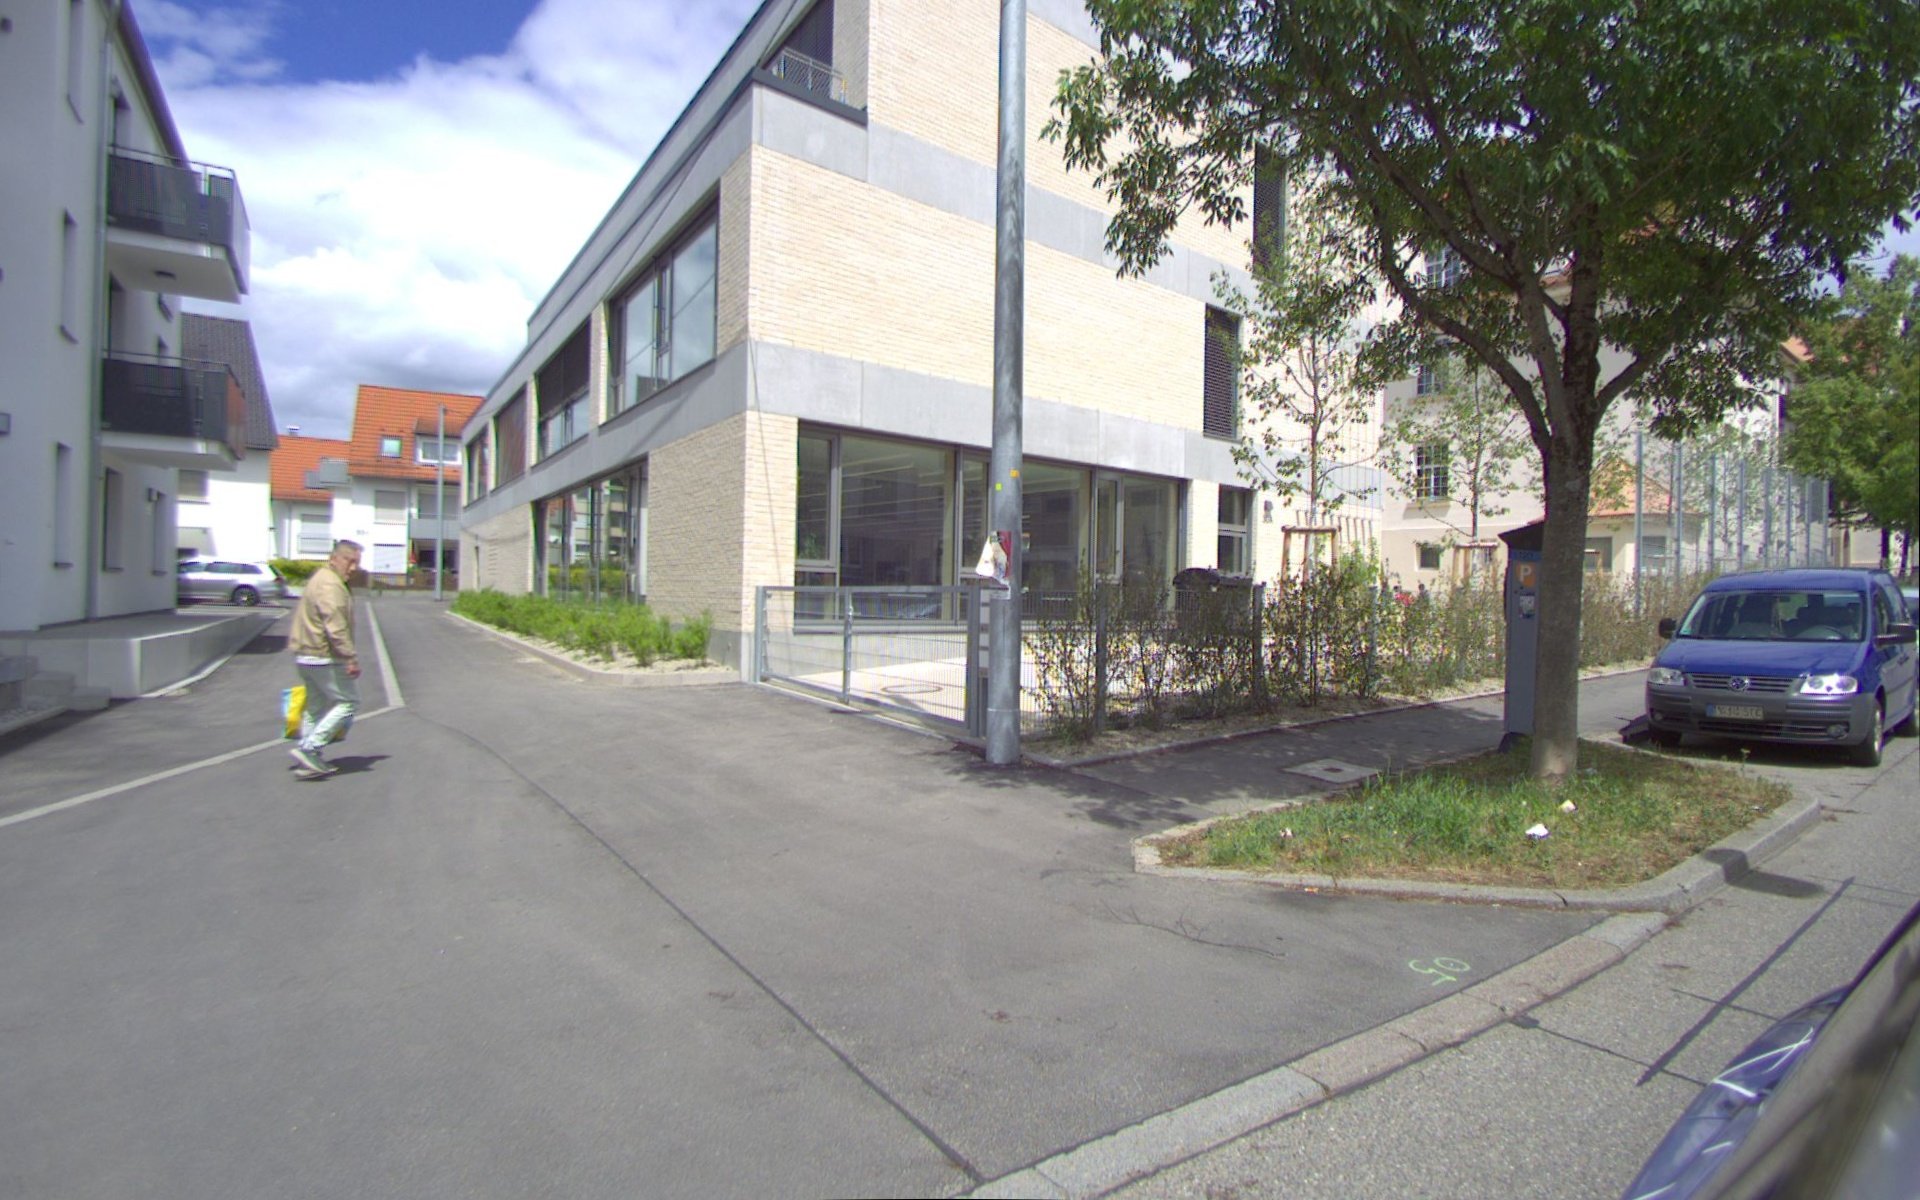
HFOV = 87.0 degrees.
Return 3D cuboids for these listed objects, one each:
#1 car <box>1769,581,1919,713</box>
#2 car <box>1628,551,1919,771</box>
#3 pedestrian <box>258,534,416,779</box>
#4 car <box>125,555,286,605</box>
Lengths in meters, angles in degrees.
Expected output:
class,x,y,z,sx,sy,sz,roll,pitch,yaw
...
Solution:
class,x,y,z,sx,sy,sz,roll,pitch,yaw
car,12.794,0.537,13.939,4.288,1.528,1.789,-2,1,-40
car,8.680,0.439,10.409,4.436,1.790,1.848,-2,1,-40
pedestrian,-4.419,0.372,7.212,0.726,1.668,0.615,0,1,8
car,-23.617,-0.638,31.862,3.922,1.504,1.785,-1,1,-32
